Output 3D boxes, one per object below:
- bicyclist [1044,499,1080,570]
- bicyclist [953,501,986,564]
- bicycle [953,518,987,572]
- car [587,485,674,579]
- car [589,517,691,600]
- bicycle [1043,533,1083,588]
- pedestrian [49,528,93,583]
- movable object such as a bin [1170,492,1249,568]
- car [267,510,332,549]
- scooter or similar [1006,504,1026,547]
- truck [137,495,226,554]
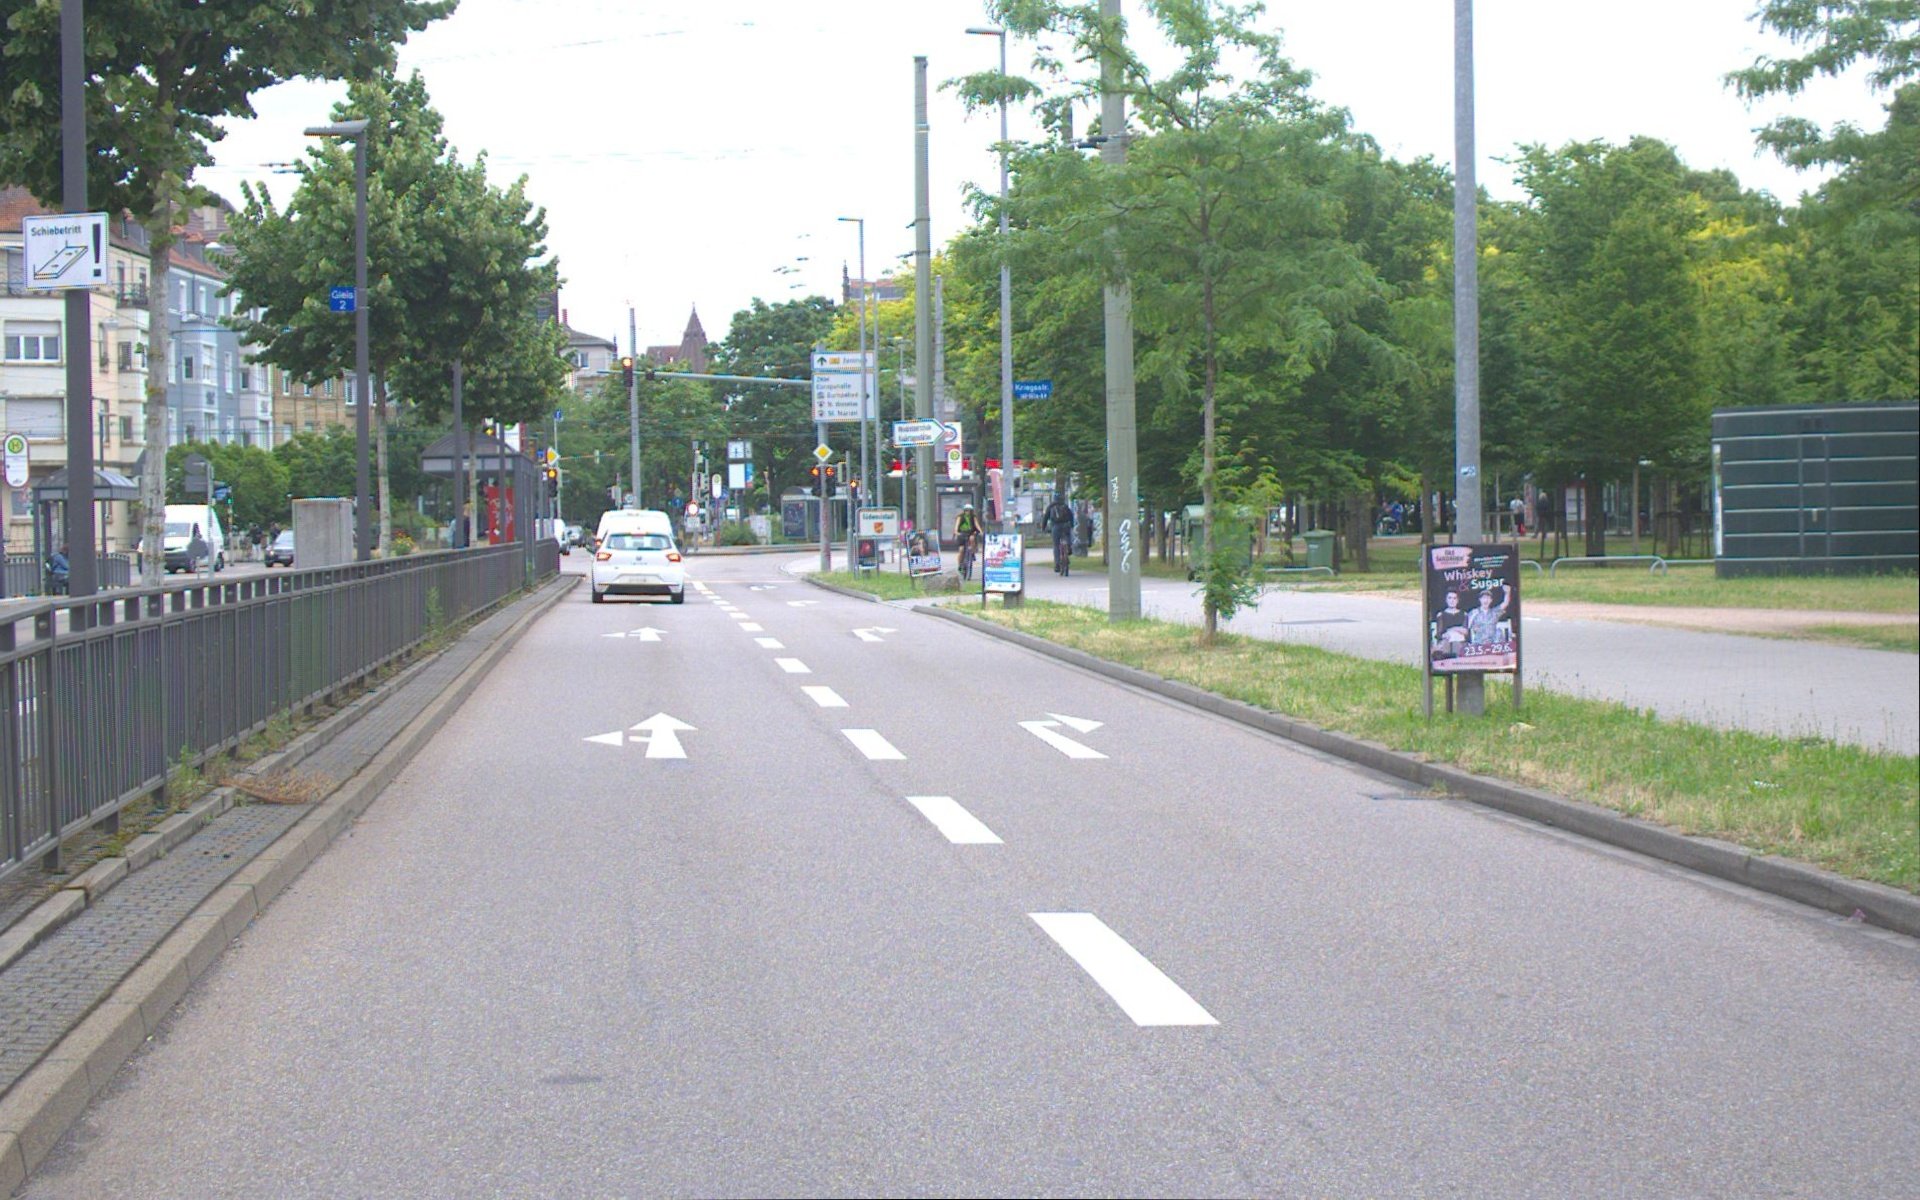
[{"bbox_3d":[2.239,-1.443,75.682,0.679,1.532,0.673,-2,2,-4],"label":"bicyclist"},{"bbox_3d":[0.205,-1.511,76.766,0.679,1.375,0.727,-2,2,2],"label":"bicyclist"},{"bbox_3d":[0.226,-1.240,76.766,0.679,1.151,1.898,-2,2,2],"label":"bicycle"},{"bbox_3d":[-7.212,-1.503,75.123,1.782,1.956,4.383,-1,2,-6],"label":"car"},{"bbox_3d":[-6.018,-0.805,64.988,1.782,1.467,4.011,-1,2,-4],"label":"car"},{"bbox_3d":[2.255,-0.881,75.714,0.679,1.151,1.898,-2,2,-4],"label":"bicycle"},{"bbox_3d":[-20.851,-1.042,80.640,0.864,1.262,0.694,-2,2,-7],"label":"pedestrian"},{"bbox_3d":[4.692,-1.325,64.735,1.282,1.385,1.159,-1,1,-4],"label":"movable object such as a bin"},{"bbox_3d":[-26.460,-2.821,137.738,1.770,1.488,3.887,-1,1,1],"label":"car"},{"bbox_3d":[1.480,-1.971,90.777,0.376,1.137,1.199,-2,2,6],"label":"scooter or similar"},{"bbox_3d":[-27.700,-2.703,122.479,1.788,2.025,5.396,-1,1,1],"label":"truck"}]
